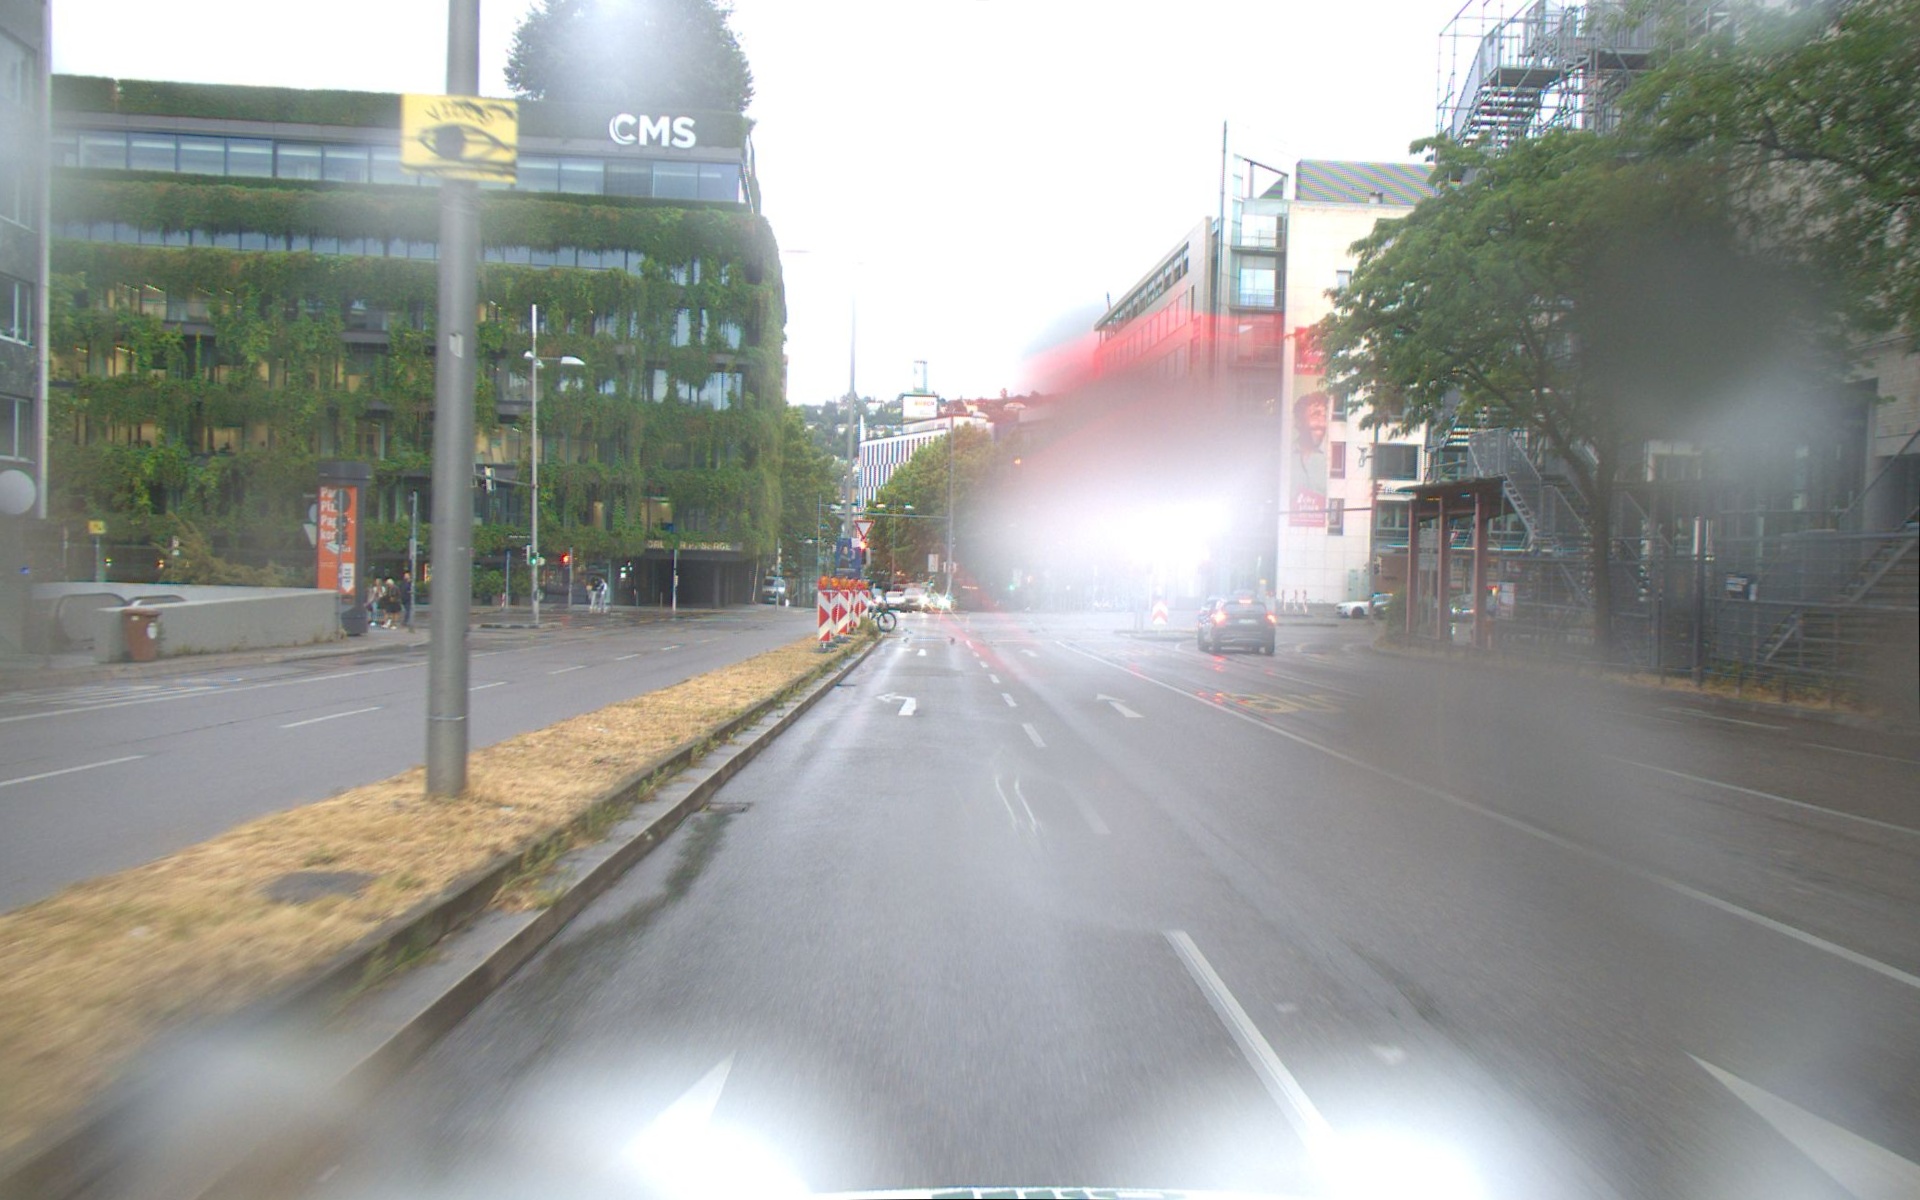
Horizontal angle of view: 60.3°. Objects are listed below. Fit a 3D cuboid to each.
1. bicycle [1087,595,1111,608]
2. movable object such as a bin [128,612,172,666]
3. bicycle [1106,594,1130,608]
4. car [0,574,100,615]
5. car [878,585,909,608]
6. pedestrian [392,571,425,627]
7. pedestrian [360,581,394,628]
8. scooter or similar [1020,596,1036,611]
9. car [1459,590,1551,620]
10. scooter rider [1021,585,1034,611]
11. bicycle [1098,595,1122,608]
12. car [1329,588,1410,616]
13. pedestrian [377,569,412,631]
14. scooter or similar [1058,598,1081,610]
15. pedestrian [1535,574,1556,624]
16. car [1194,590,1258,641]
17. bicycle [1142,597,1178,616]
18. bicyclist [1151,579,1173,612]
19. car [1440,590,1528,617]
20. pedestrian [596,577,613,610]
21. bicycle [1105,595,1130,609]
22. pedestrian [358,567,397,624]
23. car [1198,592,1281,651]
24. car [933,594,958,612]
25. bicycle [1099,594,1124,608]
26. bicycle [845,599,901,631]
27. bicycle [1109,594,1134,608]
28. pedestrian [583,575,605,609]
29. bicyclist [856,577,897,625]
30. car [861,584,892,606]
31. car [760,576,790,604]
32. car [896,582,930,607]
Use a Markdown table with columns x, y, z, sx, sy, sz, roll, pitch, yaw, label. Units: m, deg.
| x | y | z | sx | sy | sz | roll | pitch | yaw | label |
| --- | --- | --- | --- | --- | --- | --- | --- | --- | --- |
| 10.326 | 0.097 | 122.842 | 1.757 | 0.950 | 0.475 | 1 | 0 | 2 | bicycle |
| -14.307 | 0.682 | 29.219 | 0.521 | 0.913 | 0.681 | -1 | 0 | -10 | movable object such as a bin |
| 11.071 | 0.088 | 115.930 | 1.767 | 0.950 | 0.473 | 1 | 0 | 41 | bicycle |
| -36.263 | -0.232 | 65.191 | 3.825 | 1.550 | 1.865 | 0 | 0 | -14 | car |
| -5.363 | -0.294 | 132.255 | 2.133 | 1.855 | 4.637 | 1 | 0 | -6 | car |
| -19.575 | -0.034 | 58.716 | 0.769 | 1.918 | 0.897 | -3 | 1 | -4 | pedestrian |
| -20.626 | 0.145 | 58.528 | 0.815 | 1.612 | 0.922 | -3 | 1 | -4 | pedestrian |
| 4.840 | 0.244 | 118.212 | 0.548 | 1.024 | 1.814 | 0 | 0 | -19 | scooter or similar |
| 28.615 | 0.261 | 86.908 | 4.374 | 1.489 | 1.717 | 0 | 0 | -14 | car |
| 4.835 | -0.141 | 118.249 | 0.750 | 1.805 | 0.792 | 0 | 0 | -18 | scooter rider |
| 10.966 | 0.107 | 121.002 | 1.757 | 0.950 | 0.475 | 1 | 0 | 2 | bicycle |
| 24.624 | 0.139 | 99.450 | 4.377 | 1.626 | 1.992 | 0 | 0 | -16 | car |
| -18.126 | -0.010 | 53.021 | 0.790 | 1.918 | 0.865 | -3 | 1 | -7 | pedestrian |
| 8.613 | 0.323 | 129.850 | 1.720 | 0.894 | 0.486 | 0 | 0 | -20 | scooter or similar |
| 22.260 | -0.024 | 62.882 | 0.666 | 1.885 | 1.055 | 0 | 0 | 25 | pedestrian |
| 8.761 | 0.475 | 54.287 | 1.667 | 1.556 | 4.430 | 1 | 0 | 14 | car |
| 12.210 | 0.387 | 101.053 | 0.787 | 1.136 | 2.222 | 1 | 0 | -41 | bicycle |
| 12.346 | -0.266 | 100.913 | 0.787 | 2.009 | 1.097 | 1 | 0 | -41 | bicyclist |
| 28.535 | 0.189 | 90.103 | 4.377 | 1.372 | 1.716 | 0 | 0 | -16 | car |
| -19.140 | -0.364 | 89.023 | 0.731 | 1.788 | 0.969 | 0 | 0 | -24 | pedestrian |
| 11.098 | 0.125 | 116.675 | 1.767 | 0.950 | 0.473 | 1 | 0 | 41 | bicycle |
| -20.078 | -0.151 | 57.030 | 1.002 | 1.886 | 0.876 | -3 | 1 | -5 | pedestrian |
| 7.924 | 0.570 | 47.165 | 1.741 | 1.567 | 4.147 | 1 | 0 | 1 | car |
| -1.259 | 0.271 | 143.316 | 1.954 | 1.469 | 4.553 | 0 | 1 | -4 | car |
| 10.495 | 0.089 | 114.314 | 1.767 | 0.950 | 0.473 | 1 | 0 | 41 | bicycle |
| -3.152 | 0.520 | 59.979 | 0.832 | 1.122 | 2.143 | 1 | 0 | 38 | bicycle |
| 11.243 | 0.090 | 114.966 | 1.767 | 0.950 | 0.473 | 1 | 0 | 41 | bicycle |
| -19.666 | -0.419 | 88.776 | 0.923 | 1.788 | 1.163 | 0 | 0 | -24 | pedestrian |
| -3.028 | 0.023 | 60.101 | 0.832 | 1.733 | 1.292 | 1 | 0 | 40 | bicyclist |
| -5.807 | -0.370 | 114.246 | 1.821 | 1.473 | 4.614 | 0 | 1 | -7 | car |
| -13.172 | -0.733 | 118.099 | 1.954 | 1.928 | 4.461 | 1 | 0 | -5 | car |
| -3.085 | -0.385 | 108.252 | 1.954 | 1.577 | 4.551 | 0 | 0 | -5 | car |
